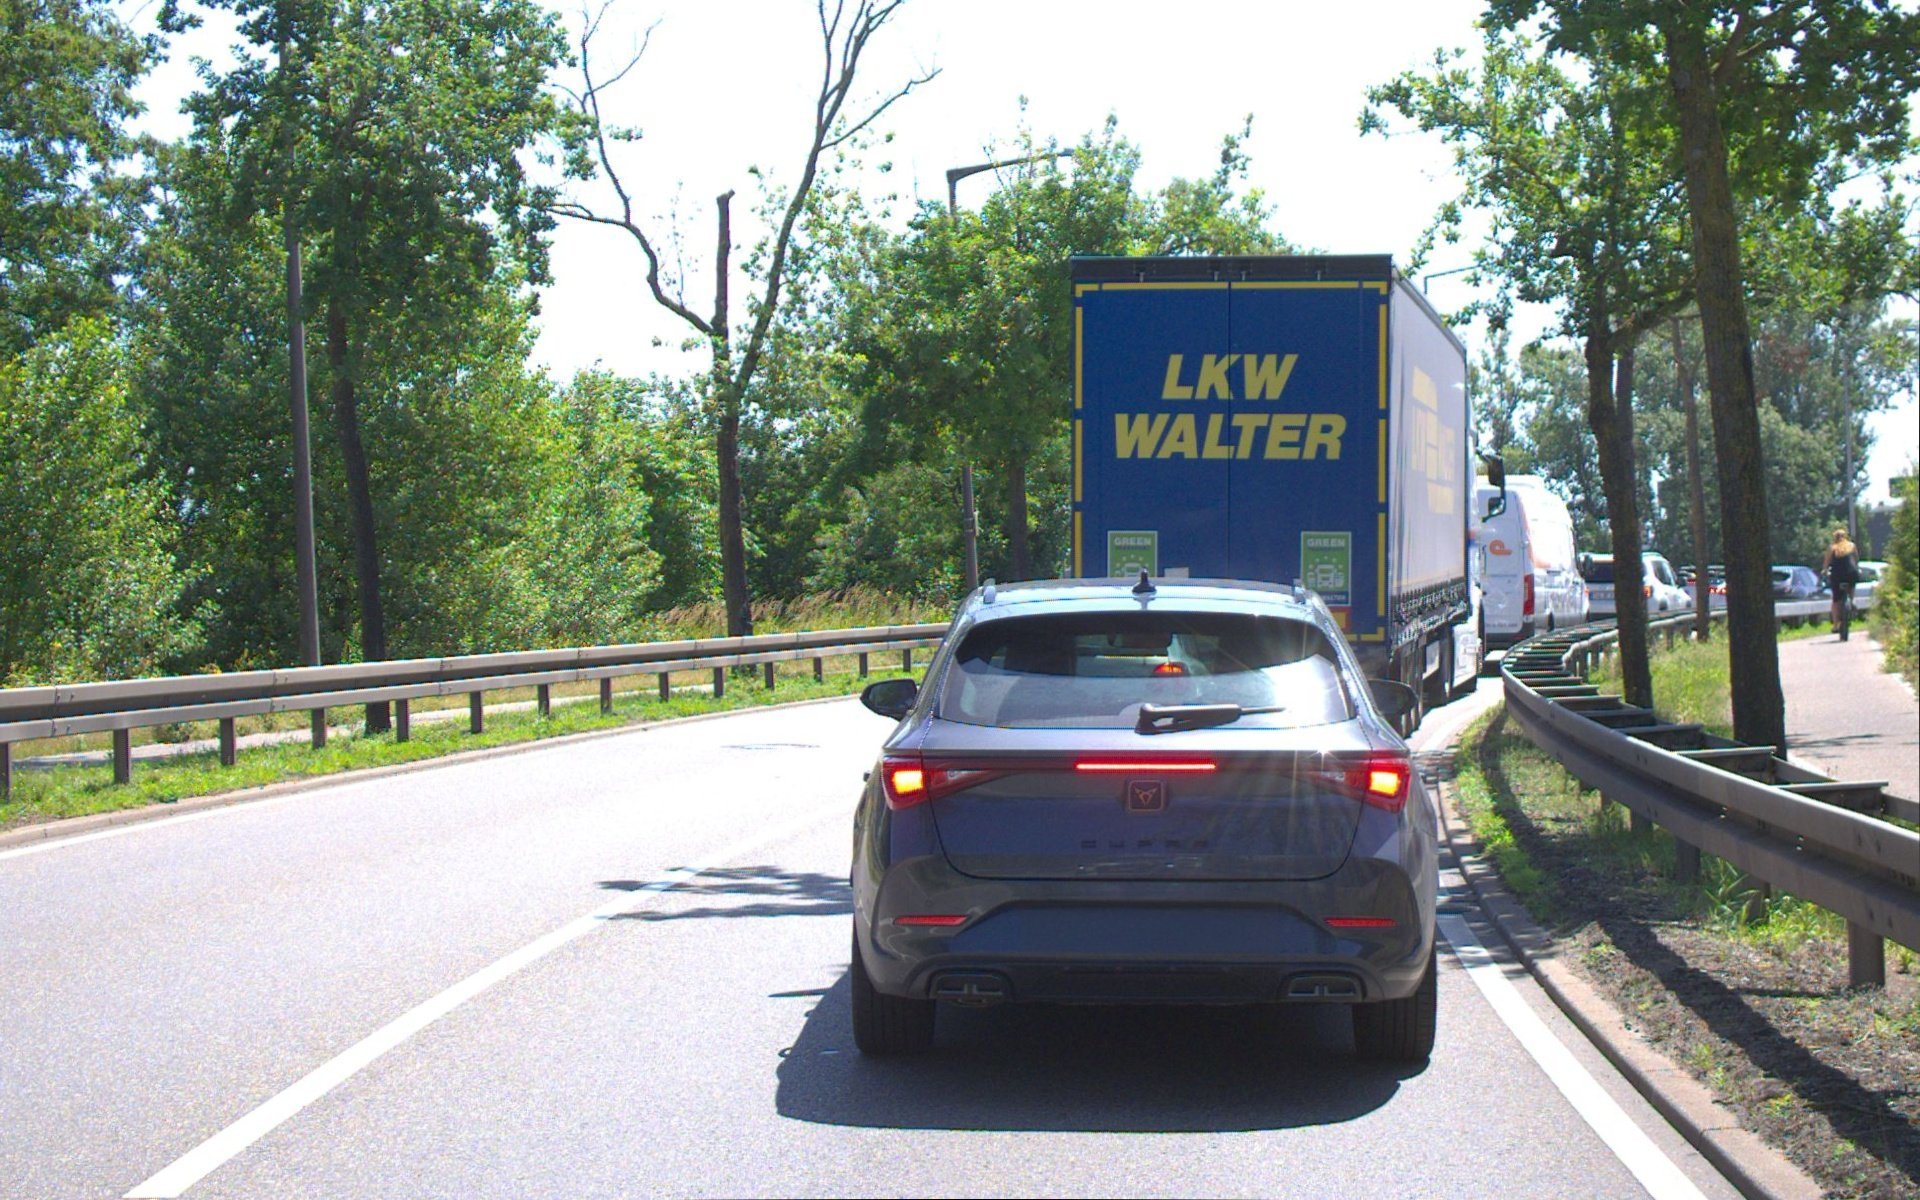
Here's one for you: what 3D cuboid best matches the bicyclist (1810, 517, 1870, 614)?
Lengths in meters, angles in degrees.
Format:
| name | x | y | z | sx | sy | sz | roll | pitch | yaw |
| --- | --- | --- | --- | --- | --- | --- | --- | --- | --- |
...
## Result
| name | x | y | z | sx | sy | sz | roll | pitch | yaw |
| --- | --- | --- | --- | --- | --- | --- | --- | --- | --- |
| bicyclist | 13.893 | -0.545 | 54.241 | 0.861 | 1.518 | 0.979 | 0 | 0 | 17 |

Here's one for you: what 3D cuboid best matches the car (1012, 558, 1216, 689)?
| name | x | y | z | sx | sy | sz | roll | pitch | yaw |
| --- | --- | --- | --- | --- | --- | --- | --- | --- | --- |
| car | 2.105 | 0.271 | 45.751 | 1.870 | 1.598 | 4.390 | 1 | 1 | 14 |

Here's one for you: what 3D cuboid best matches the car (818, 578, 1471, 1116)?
| name | x | y | z | sx | sy | sz | roll | pitch | yaw |
| --- | --- | --- | --- | --- | --- | --- | --- | --- | --- |
| car | 0.559 | 0.651 | 11.190 | 1.744 | 1.427 | 3.880 | 0 | 0 | 2 |

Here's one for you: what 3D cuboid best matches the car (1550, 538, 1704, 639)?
| name | x | y | z | sx | sy | sz | roll | pitch | yaw |
| --- | --- | --- | --- | --- | --- | --- | --- | --- | --- |
| car | 11.835 | -0.209 | 60.780 | 1.995 | 1.706 | 4.615 | 1 | 0 | 20 |

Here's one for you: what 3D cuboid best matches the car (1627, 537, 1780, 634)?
| name | x | y | z | sx | sy | sz | roll | pitch | yaw |
| --- | --- | --- | --- | --- | --- | --- | --- | --- | --- |
| car | 14.536 | -0.291 | 67.012 | 1.996 | 1.802 | 4.839 | 1 | 0 | 24 |

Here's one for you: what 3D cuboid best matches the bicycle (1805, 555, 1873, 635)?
| name | x | y | z | sx | sy | sz | roll | pitch | yaw |
| --- | --- | --- | --- | --- | --- | --- | --- | --- | --- |
| bicycle | 13.902 | -0.089 | 54.345 | 0.861 | 1.232 | 2.307 | 0 | 0 | 19 |

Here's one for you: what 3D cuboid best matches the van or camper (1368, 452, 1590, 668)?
| name | x | y | z | sx | sy | sz | roll | pitch | yaw |
| --- | --- | --- | --- | --- | --- | --- | --- | --- | --- |
| van or camper | 7.763 | -0.584 | 50.860 | 2.468 | 2.988 | 6.081 | 0 | 0 | 16 |

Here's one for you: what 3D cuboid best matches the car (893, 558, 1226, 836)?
| name | x | y | z | sx | sy | sz | roll | pitch | yaw |
| --- | --- | --- | --- | --- | --- | --- | --- | --- | --- |
| car | 0.666 | 0.512 | 20.770 | 1.809 | 1.503 | 4.000 | 0 | 0 | 4 |

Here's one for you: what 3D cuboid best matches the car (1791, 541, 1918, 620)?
| name | x | y | z | sx | sy | sz | roll | pitch | yaw |
| --- | --- | --- | --- | --- | --- | --- | --- | --- | --- |
| car | 20.808 | -0.456 | 79.888 | 1.996 | 1.762 | 4.748 | 1 | 0 | 25 |

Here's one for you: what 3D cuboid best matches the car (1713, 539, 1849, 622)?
| name | x | y | z | sx | sy | sz | roll | pitch | yaw |
| --- | --- | --- | --- | --- | --- | --- | --- | --- | --- |
| car | 17.635 | -0.430 | 73.689 | 1.996 | 1.711 | 4.862 | 1 | 0 | 24 |

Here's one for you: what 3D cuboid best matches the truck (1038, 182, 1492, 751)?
| name | x | y | z | sx | sy | sz | roll | pitch | yaw |
| --- | --- | --- | --- | --- | --- | --- | --- | --- | --- |
| truck | 3.658 | -1.102 | 35.297 | 2.951 | 4.433 | 16.790 | 0 | 0 | 11 |
